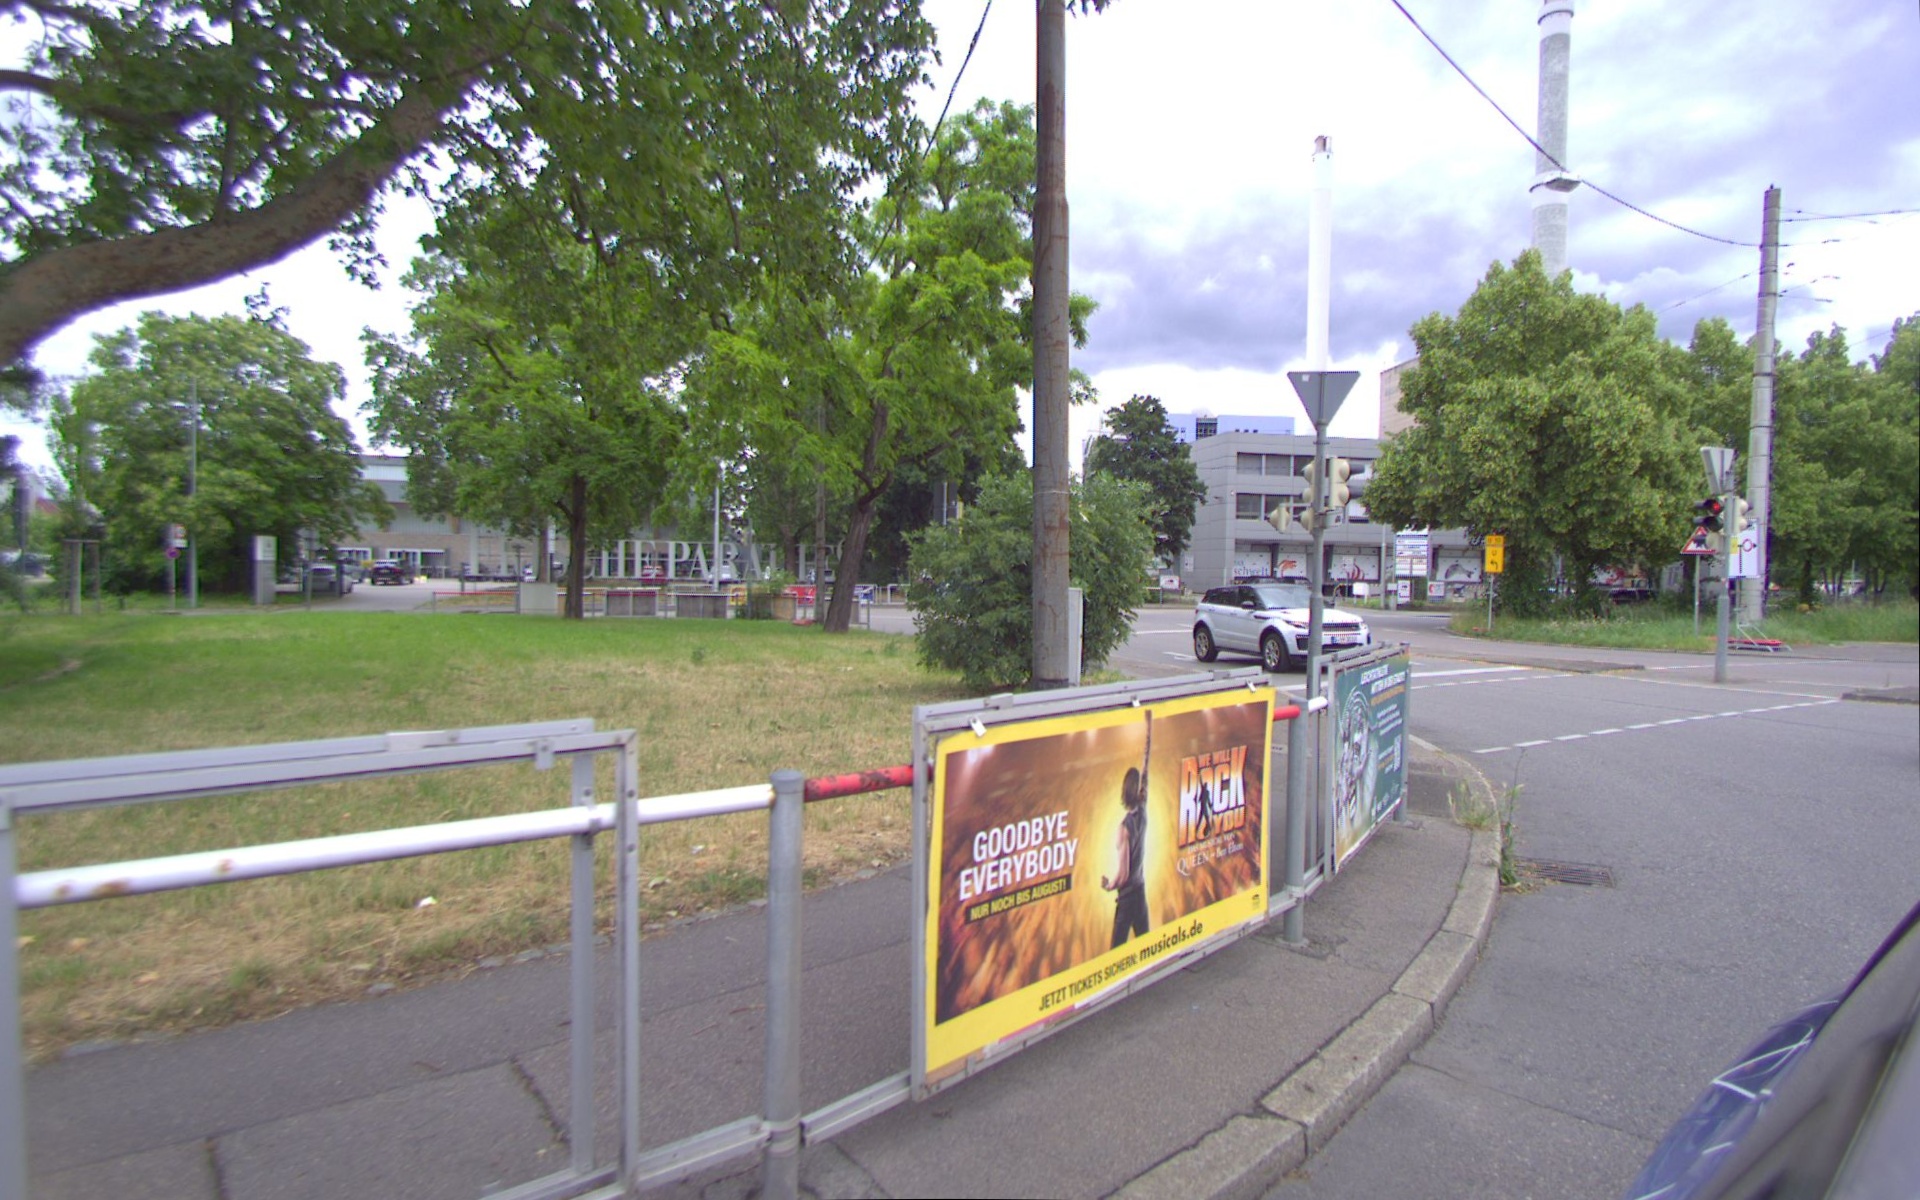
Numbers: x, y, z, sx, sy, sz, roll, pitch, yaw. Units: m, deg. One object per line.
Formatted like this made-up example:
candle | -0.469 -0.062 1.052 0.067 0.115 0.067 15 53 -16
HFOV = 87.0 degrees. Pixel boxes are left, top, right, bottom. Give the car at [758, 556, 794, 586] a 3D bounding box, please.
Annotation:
car | -10.935 -1.761 60.272 1.959 1.474 4.711 -3 4 -9

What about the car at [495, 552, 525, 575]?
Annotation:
car | -36.603 -3.020 82.424 1.717 1.703 3.581 -3 4 -17

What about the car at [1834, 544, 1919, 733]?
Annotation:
car | 9.135 0.373 7.404 1.731 1.548 3.750 -1 3 -18

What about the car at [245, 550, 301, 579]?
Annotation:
car | -43.290 -2.241 63.868 1.876 1.721 4.010 1 2 -18

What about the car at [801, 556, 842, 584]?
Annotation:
car | -8.436 -1.848 61.298 1.958 1.474 4.713 -3 4 -14

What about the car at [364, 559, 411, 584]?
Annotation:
car | -36.752 -1.851 65.090 1.876 1.526 4.010 1 2 -18

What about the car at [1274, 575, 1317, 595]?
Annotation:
car | 25.511 -1.162 77.009 1.742 1.192 3.579 -2 4 -6

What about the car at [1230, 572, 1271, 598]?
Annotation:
car | 21.898 -1.132 76.465 1.742 1.698 3.579 -2 4 -6

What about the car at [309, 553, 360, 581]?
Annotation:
car | -40.046 -2.104 64.873 1.876 1.721 4.010 1 2 -18

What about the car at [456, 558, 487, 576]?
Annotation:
car | -39.240 -2.666 81.395 1.717 1.331 3.581 -3 4 -17

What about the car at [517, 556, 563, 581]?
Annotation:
car | -28.113 -2.145 67.930 1.898 1.448 5.265 -3 4 -12

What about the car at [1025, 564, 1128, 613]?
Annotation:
car | 4.623 -0.491 39.880 1.828 1.793 4.162 3 3 45

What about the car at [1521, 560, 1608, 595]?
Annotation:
car | 34.840 -1.330 58.327 4.667 1.682 2.005 -4 4 -24

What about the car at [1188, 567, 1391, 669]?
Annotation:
car | 6.299 0.241 19.878 1.878 1.588 4.124 -3 4 -14
